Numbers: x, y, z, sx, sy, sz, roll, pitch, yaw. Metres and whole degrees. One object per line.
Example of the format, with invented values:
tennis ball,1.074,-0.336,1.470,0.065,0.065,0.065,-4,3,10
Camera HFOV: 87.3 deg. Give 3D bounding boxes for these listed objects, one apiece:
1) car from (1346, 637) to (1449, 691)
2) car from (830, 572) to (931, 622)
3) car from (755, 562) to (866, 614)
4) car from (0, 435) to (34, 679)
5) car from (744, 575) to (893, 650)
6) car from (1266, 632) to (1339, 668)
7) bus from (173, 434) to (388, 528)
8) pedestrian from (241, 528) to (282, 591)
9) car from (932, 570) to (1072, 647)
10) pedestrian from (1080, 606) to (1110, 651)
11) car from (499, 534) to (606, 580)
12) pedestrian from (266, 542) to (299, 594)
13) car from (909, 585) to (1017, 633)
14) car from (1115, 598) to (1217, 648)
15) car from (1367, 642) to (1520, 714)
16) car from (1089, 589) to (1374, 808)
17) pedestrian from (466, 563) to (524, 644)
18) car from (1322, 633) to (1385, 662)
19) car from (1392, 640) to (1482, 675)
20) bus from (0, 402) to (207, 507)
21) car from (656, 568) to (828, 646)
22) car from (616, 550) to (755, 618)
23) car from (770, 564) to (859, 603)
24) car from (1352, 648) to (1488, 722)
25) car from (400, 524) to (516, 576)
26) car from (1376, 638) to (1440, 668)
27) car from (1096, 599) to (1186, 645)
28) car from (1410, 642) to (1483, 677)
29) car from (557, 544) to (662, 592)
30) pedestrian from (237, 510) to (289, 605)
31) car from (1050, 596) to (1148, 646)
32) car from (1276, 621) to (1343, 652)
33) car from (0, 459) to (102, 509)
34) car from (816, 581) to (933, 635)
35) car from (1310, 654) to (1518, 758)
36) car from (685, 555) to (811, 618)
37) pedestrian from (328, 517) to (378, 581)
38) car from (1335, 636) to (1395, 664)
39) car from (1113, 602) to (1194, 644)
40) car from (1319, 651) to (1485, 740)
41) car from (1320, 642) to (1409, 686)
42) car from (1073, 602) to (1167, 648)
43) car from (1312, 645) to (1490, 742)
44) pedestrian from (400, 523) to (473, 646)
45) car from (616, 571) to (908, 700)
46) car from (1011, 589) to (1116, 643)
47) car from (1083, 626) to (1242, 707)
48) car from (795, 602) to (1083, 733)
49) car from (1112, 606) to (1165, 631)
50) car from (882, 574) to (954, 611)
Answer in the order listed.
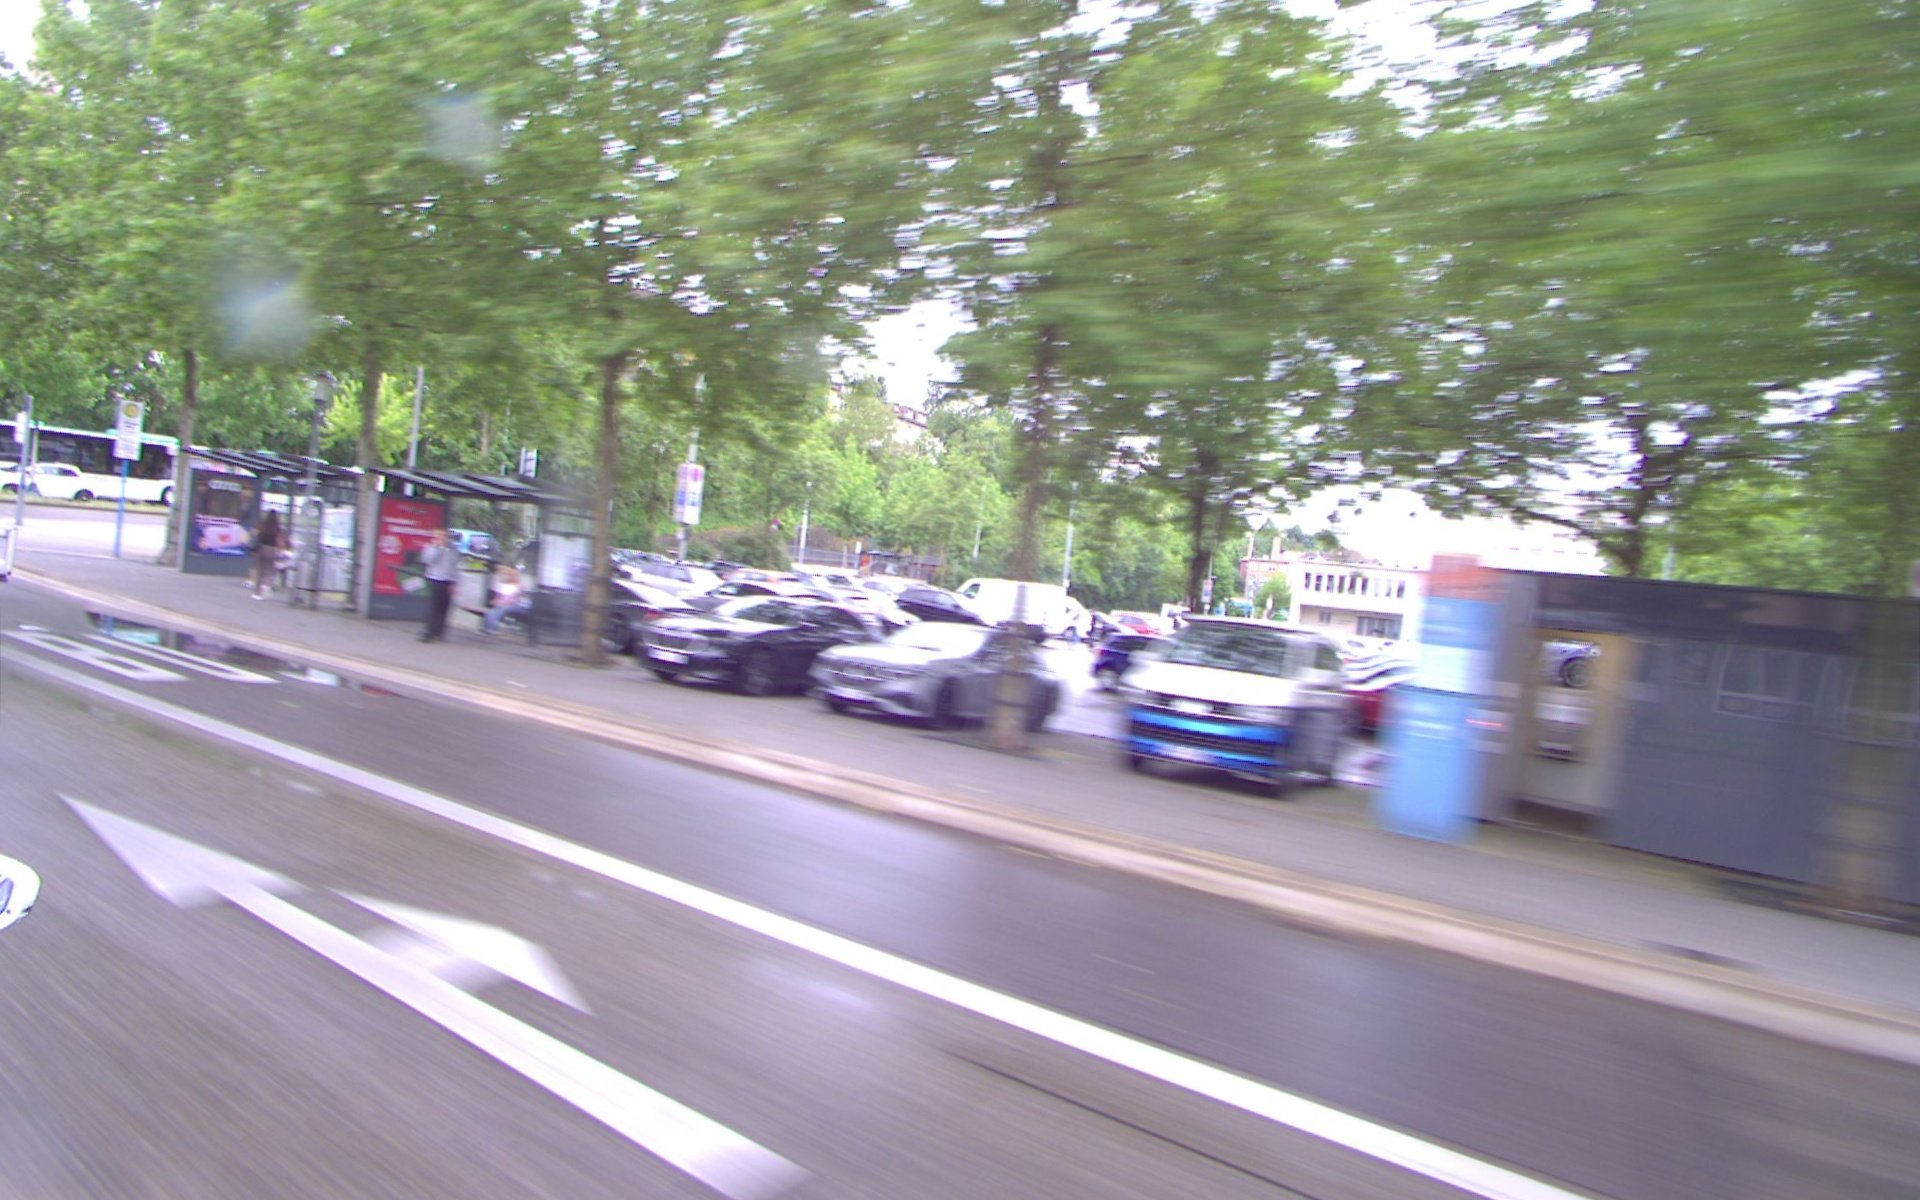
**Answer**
car,17.847,2.578,41.092,3.548,1.613,1.529,9,3,29
car,-3.417,-0.128,43.126,3.934,1.587,1.757,9,3,32
car,-5.818,-0.472,38.994,3.934,1.468,1.757,9,3,32
car,-11.103,-0.701,9.461,5.451,2.115,2.104,7,0,33
car,-4.169,0.342,29.547,3.930,1.612,1.759,9,3,28
car,17.076,2.480,50.174,3.293,1.252,1.531,9,3,20
bus,-34.045,-5.872,50.894,2.642,3.221,8.543,10,2,29
pedestrian,-15.123,-0.866,21.783,0.395,1.287,0.499,9,3,31
car,1.658,0.314,39.912,4.923,2.351,1.970,9,3,25
pedestrian,5.403,1.157,40.277,0.654,1.671,0.790,5,4,-32
car,-17.069,-1.812,42.108,4.188,1.372,1.853,8,2,28
pedestrian,-14.627,-0.695,21.714,0.364,1.048,0.400,9,3,31
car,0.097,0.325,36.890,3.569,1.252,1.529,9,3,28
car,13.451,1.485,65.680,5.936,2.391,2.228,9,3,25
car,17.042,2.708,35.652,4.548,1.692,1.970,9,3,25
car,3.556,1.216,12.372,1.918,1.964,4.846,7,-2,32
pedestrian,-8.190,0.063,17.721,0.617,1.338,0.630,7,0,43
car,24.244,2.921,62.011,3.299,1.252,1.528,9,3,32
car,27.214,3.274,57.453,4.430,1.441,1.639,7,0,27
bus,-38.462,-6.346,42.955,2.658,3.258,9.640,10,2,29
car,-5.931,0.166,27.304,4.366,1.459,1.735,9,3,28
car,-8.846,-0.517,32.326,4.104,1.612,1.759,9,3,28
car,-7.619,-0.868,52.659,4.188,1.459,1.853,8,2,28
car,14.195,2.567,31.098,3.548,1.613,1.529,9,3,29
car,-19.444,-1.936,38.943,4.188,1.459,1.853,8,2,28
car,31.198,3.666,70.033,3.860,1.566,1.639,7,0,27
car,9.824,1.200,54.548,4.287,1.855,1.831,9,3,27
car,29.903,3.657,61.895,3.860,1.566,1.639,7,0,27
car,-15.166,-1.387,43.481,4.188,1.499,1.853,8,2,28
pedestrian,-13.214,-0.803,19.085,0.533,1.717,0.552,7,3,-19
car,6.936,1.049,50.113,4.287,1.855,1.831,9,3,27
car,20.198,2.112,58.158,3.299,1.252,1.528,9,3,32
car,-36.729,-4.659,40.032,1.563,1.470,3.562,9,2,29
car,-2.727,0.251,31.908,3.297,1.252,1.529,9,3,28
car,9.620,2.202,21.528,3.767,1.446,1.530,9,3,24
car,-7.376,-0.484,34.957,3.930,1.612,1.759,9,3,28
pedestrian,-17.091,-1.423,28.310,0.846,1.654,0.765,9,3,30
car,29.992,3.707,74.526,3.860,1.566,1.639,7,0,27
car,11.636,1.383,60.627,4.287,1.855,1.831,9,3,27
car,11.388,2.387,25.967,3.551,1.613,1.528,9,3,33
car,18.755,2.970,46.649,3.536,1.536,1.638,7,0,28
car,8.322,1.272,52.307,4.287,1.724,1.831,9,3,27
car,10.421,2.149,23.844,3.549,1.613,1.569,9,3,30
pedestrian,-8.418,-0.255,16.167,0.729,1.864,0.749,6,0,-41
car,-2.881,0.640,15.681,1.832,1.501,4.409,7,-2,32
car,4.775,0.738,46.571,4.287,1.855,1.831,9,3,27
car,4.827,1.561,23.988,3.296,1.440,1.639,7,0,27
car,-0.087,1.082,14.779,1.831,1.421,4.748,7,-2,32
car,14.462,1.498,81.793,3.757,1.440,1.695,8,2,36
car,-2.665,-0.480,62.976,4.199,1.698,1.848,8,2,39
